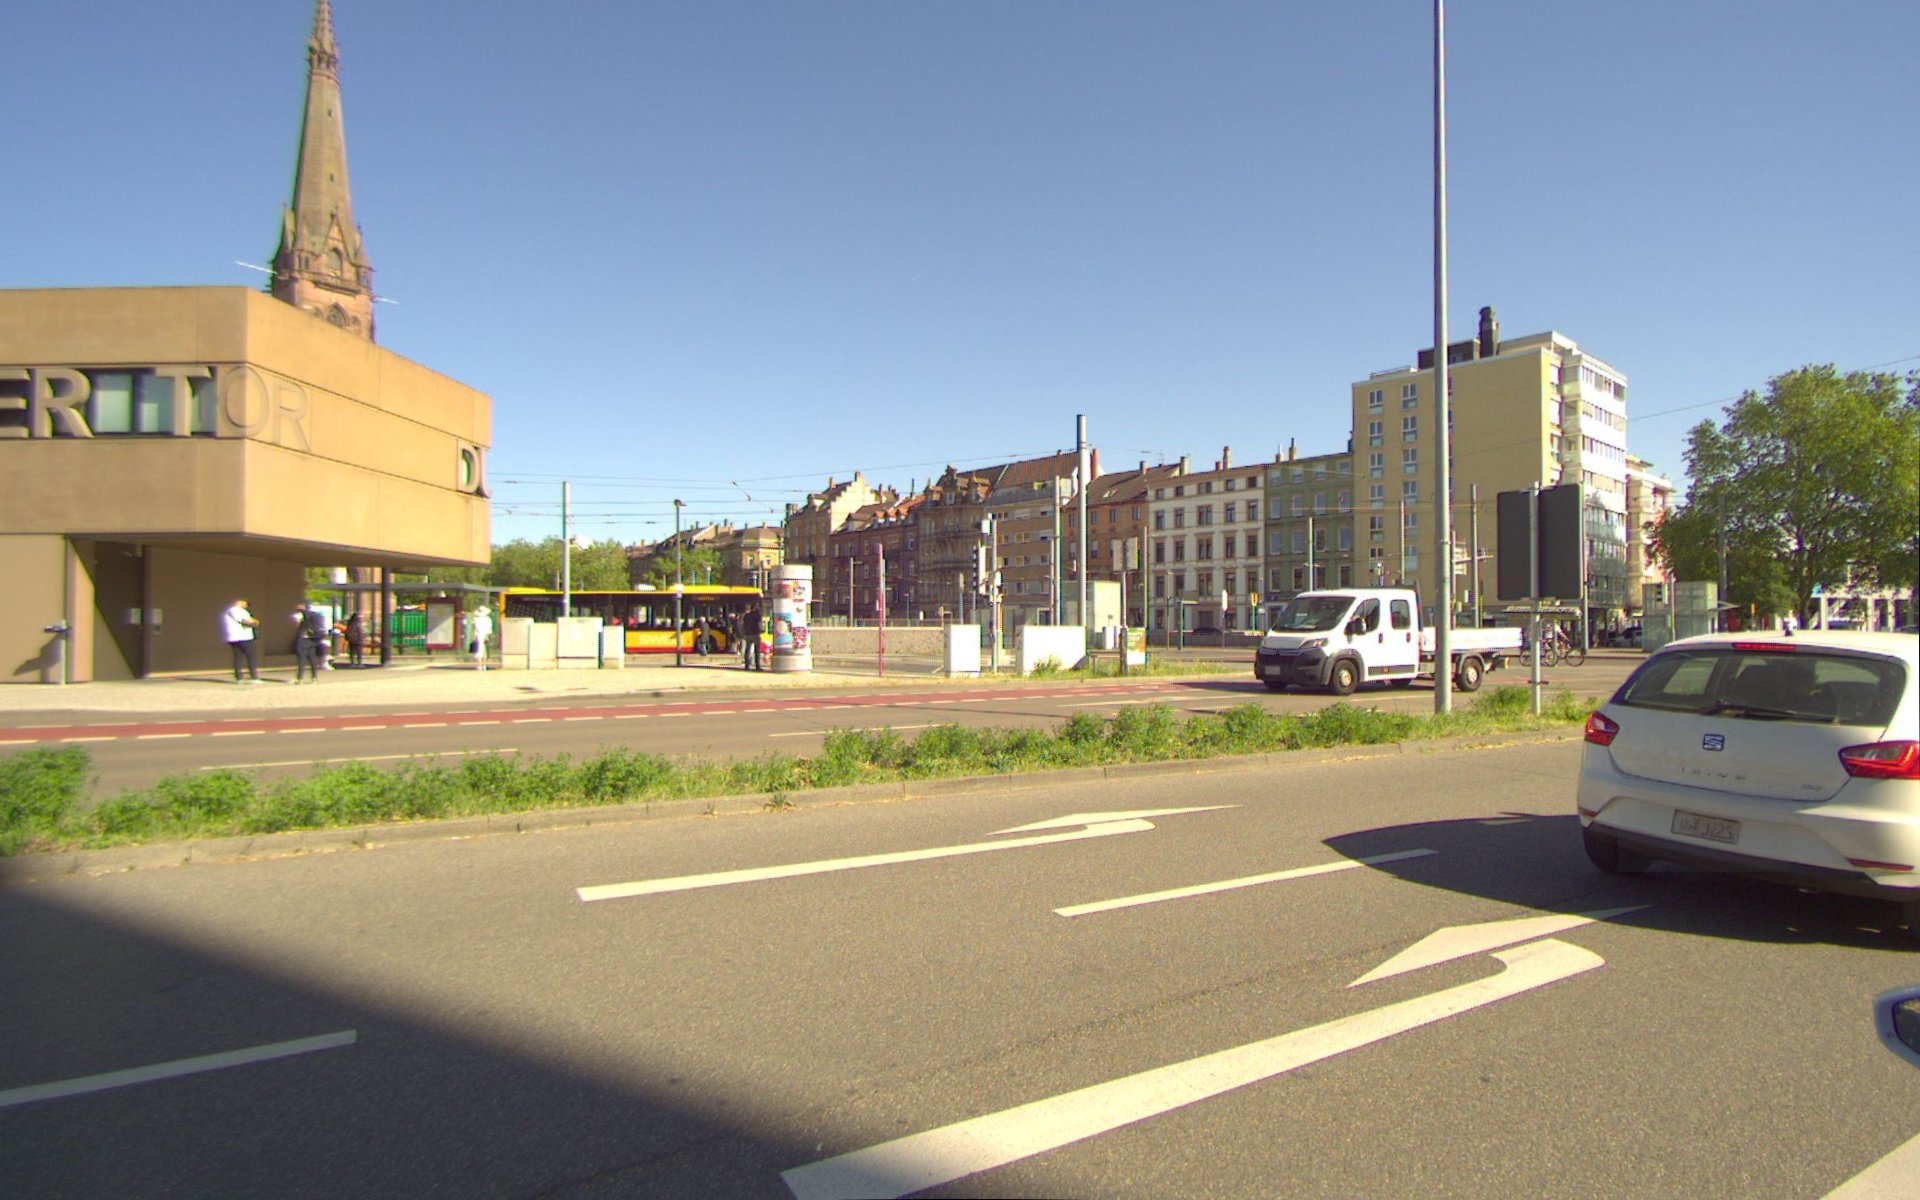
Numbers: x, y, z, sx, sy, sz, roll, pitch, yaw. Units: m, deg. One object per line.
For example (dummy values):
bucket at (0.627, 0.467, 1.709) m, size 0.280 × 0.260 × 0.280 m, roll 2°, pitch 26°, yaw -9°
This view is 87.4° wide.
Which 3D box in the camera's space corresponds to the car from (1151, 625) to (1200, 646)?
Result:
car at (19.539, 3.203, 91.315) m, size 1.983 × 1.795 × 3.954 m, roll -2°, pitch 0°, yaw -40°

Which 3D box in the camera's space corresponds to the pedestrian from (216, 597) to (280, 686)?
pedestrian at (-14.519, 0.843, 20.508) m, size 0.584 × 1.745 × 0.791 m, roll 2°, pitch -2°, yaw 16°

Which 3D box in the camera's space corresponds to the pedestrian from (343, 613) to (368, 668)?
pedestrian at (-17.449, 1.166, 28.999) m, size 0.503 × 1.529 × 0.743 m, roll 3°, pitch -2°, yaw -30°

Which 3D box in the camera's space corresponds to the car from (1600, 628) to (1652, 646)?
car at (52.869, 2.943, 79.791) m, size 1.515 × 1.334 × 3.230 m, roll -2°, pitch 0°, yaw -44°

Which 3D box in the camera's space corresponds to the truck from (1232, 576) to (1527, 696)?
truck at (9.370, 0.787, 22.248) m, size 6.795 × 2.344 × 2.206 m, roll 1°, pitch -1°, yaw -27°

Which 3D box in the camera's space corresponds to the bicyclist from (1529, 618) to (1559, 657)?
bicyclist at (22.120, 1.403, 38.052) m, size 0.635 × 1.463 × 0.772 m, roll 1°, pitch -1°, yaw -25°

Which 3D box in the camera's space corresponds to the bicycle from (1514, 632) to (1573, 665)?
bicycle at (22.097, 1.816, 38.078) m, size 0.634 × 1.180 × 1.944 m, roll 1°, pitch -1°, yaw -26°

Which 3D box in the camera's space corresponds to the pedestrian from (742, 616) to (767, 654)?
pedestrian at (-8.556, 1.467, 41.845) m, size 0.627 × 1.556 × 0.964 m, roll 0°, pitch -1°, yaw 15°

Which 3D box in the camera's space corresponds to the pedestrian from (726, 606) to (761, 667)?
pedestrian at (-6.380, 1.071, 29.618) m, size 0.634 × 1.745 × 0.791 m, roll 2°, pitch -2°, yaw 16°

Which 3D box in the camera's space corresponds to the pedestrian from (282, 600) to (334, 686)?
pedestrian at (-13.628, 0.894, 21.021) m, size 0.738 × 1.745 × 0.639 m, roll 3°, pitch -2°, yaw -24°

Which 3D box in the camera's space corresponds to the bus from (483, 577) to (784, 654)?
bus at (-14.199, 0.690, 44.241) m, size 12.336 × 3.258 × 2.975 m, roll 0°, pitch -1°, yaw 3°

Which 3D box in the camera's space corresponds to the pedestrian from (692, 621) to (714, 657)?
pedestrian at (-10.411, 1.578, 40.665) m, size 0.633 × 1.412 × 0.793 m, roll 1°, pitch -1°, yaw -33°

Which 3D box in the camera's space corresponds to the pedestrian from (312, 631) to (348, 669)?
pedestrian at (-16.552, 1.315, 26.391) m, size 0.563 × 0.979 × 0.509 m, roll 2°, pitch -2°, yaw 9°

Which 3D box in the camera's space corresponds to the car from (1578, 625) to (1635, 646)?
car at (49.470, 2.700, 76.866) m, size 1.681 × 1.530 × 3.399 m, roll 2°, pitch -1°, yaw -44°

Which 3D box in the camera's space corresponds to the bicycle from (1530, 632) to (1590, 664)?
bicycle at (22.944, 1.821, 38.441) m, size 0.634 × 1.180 × 1.944 m, roll 1°, pitch -1°, yaw -26°

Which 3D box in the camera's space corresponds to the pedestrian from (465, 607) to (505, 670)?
pedestrian at (-13.397, 1.088, 28.374) m, size 0.634 × 1.745 × 0.791 m, roll 2°, pitch -2°, yaw 4°

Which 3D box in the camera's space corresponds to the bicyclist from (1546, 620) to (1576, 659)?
bicyclist at (22.976, 1.502, 38.390) m, size 0.635 × 1.463 × 0.771 m, roll 1°, pitch -1°, yaw -27°

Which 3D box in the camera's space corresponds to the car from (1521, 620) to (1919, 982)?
car at (5.142, 0.877, 5.809) m, size 3.693 × 1.455 × 1.683 m, roll 1°, pitch 0°, yaw -30°

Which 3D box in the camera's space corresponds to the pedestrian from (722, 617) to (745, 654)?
pedestrian at (-9.529, 1.499, 42.306) m, size 0.627 × 1.556 × 0.800 m, roll 0°, pitch -1°, yaw 15°

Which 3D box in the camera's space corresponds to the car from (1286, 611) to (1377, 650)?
car at (24.648, 1.992, 66.792) m, size 1.985 × 2.443 × 5.438 m, roll 1°, pitch -2°, yaw -41°

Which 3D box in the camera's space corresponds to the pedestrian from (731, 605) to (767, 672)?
pedestrian at (-5.757, 1.042, 27.449) m, size 0.634 × 1.765 × 0.790 m, roll 2°, pitch 1°, yaw 16°

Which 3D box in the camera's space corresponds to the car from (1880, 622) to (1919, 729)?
car at (15.003, 1.058, 14.188) m, size 3.748 × 1.461 × 1.719 m, roll 1°, pitch -1°, yaw -26°

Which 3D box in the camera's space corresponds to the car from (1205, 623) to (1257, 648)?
car at (23.497, 3.070, 87.085) m, size 1.984 × 2.040 × 3.954 m, roll -2°, pitch 0°, yaw -40°
